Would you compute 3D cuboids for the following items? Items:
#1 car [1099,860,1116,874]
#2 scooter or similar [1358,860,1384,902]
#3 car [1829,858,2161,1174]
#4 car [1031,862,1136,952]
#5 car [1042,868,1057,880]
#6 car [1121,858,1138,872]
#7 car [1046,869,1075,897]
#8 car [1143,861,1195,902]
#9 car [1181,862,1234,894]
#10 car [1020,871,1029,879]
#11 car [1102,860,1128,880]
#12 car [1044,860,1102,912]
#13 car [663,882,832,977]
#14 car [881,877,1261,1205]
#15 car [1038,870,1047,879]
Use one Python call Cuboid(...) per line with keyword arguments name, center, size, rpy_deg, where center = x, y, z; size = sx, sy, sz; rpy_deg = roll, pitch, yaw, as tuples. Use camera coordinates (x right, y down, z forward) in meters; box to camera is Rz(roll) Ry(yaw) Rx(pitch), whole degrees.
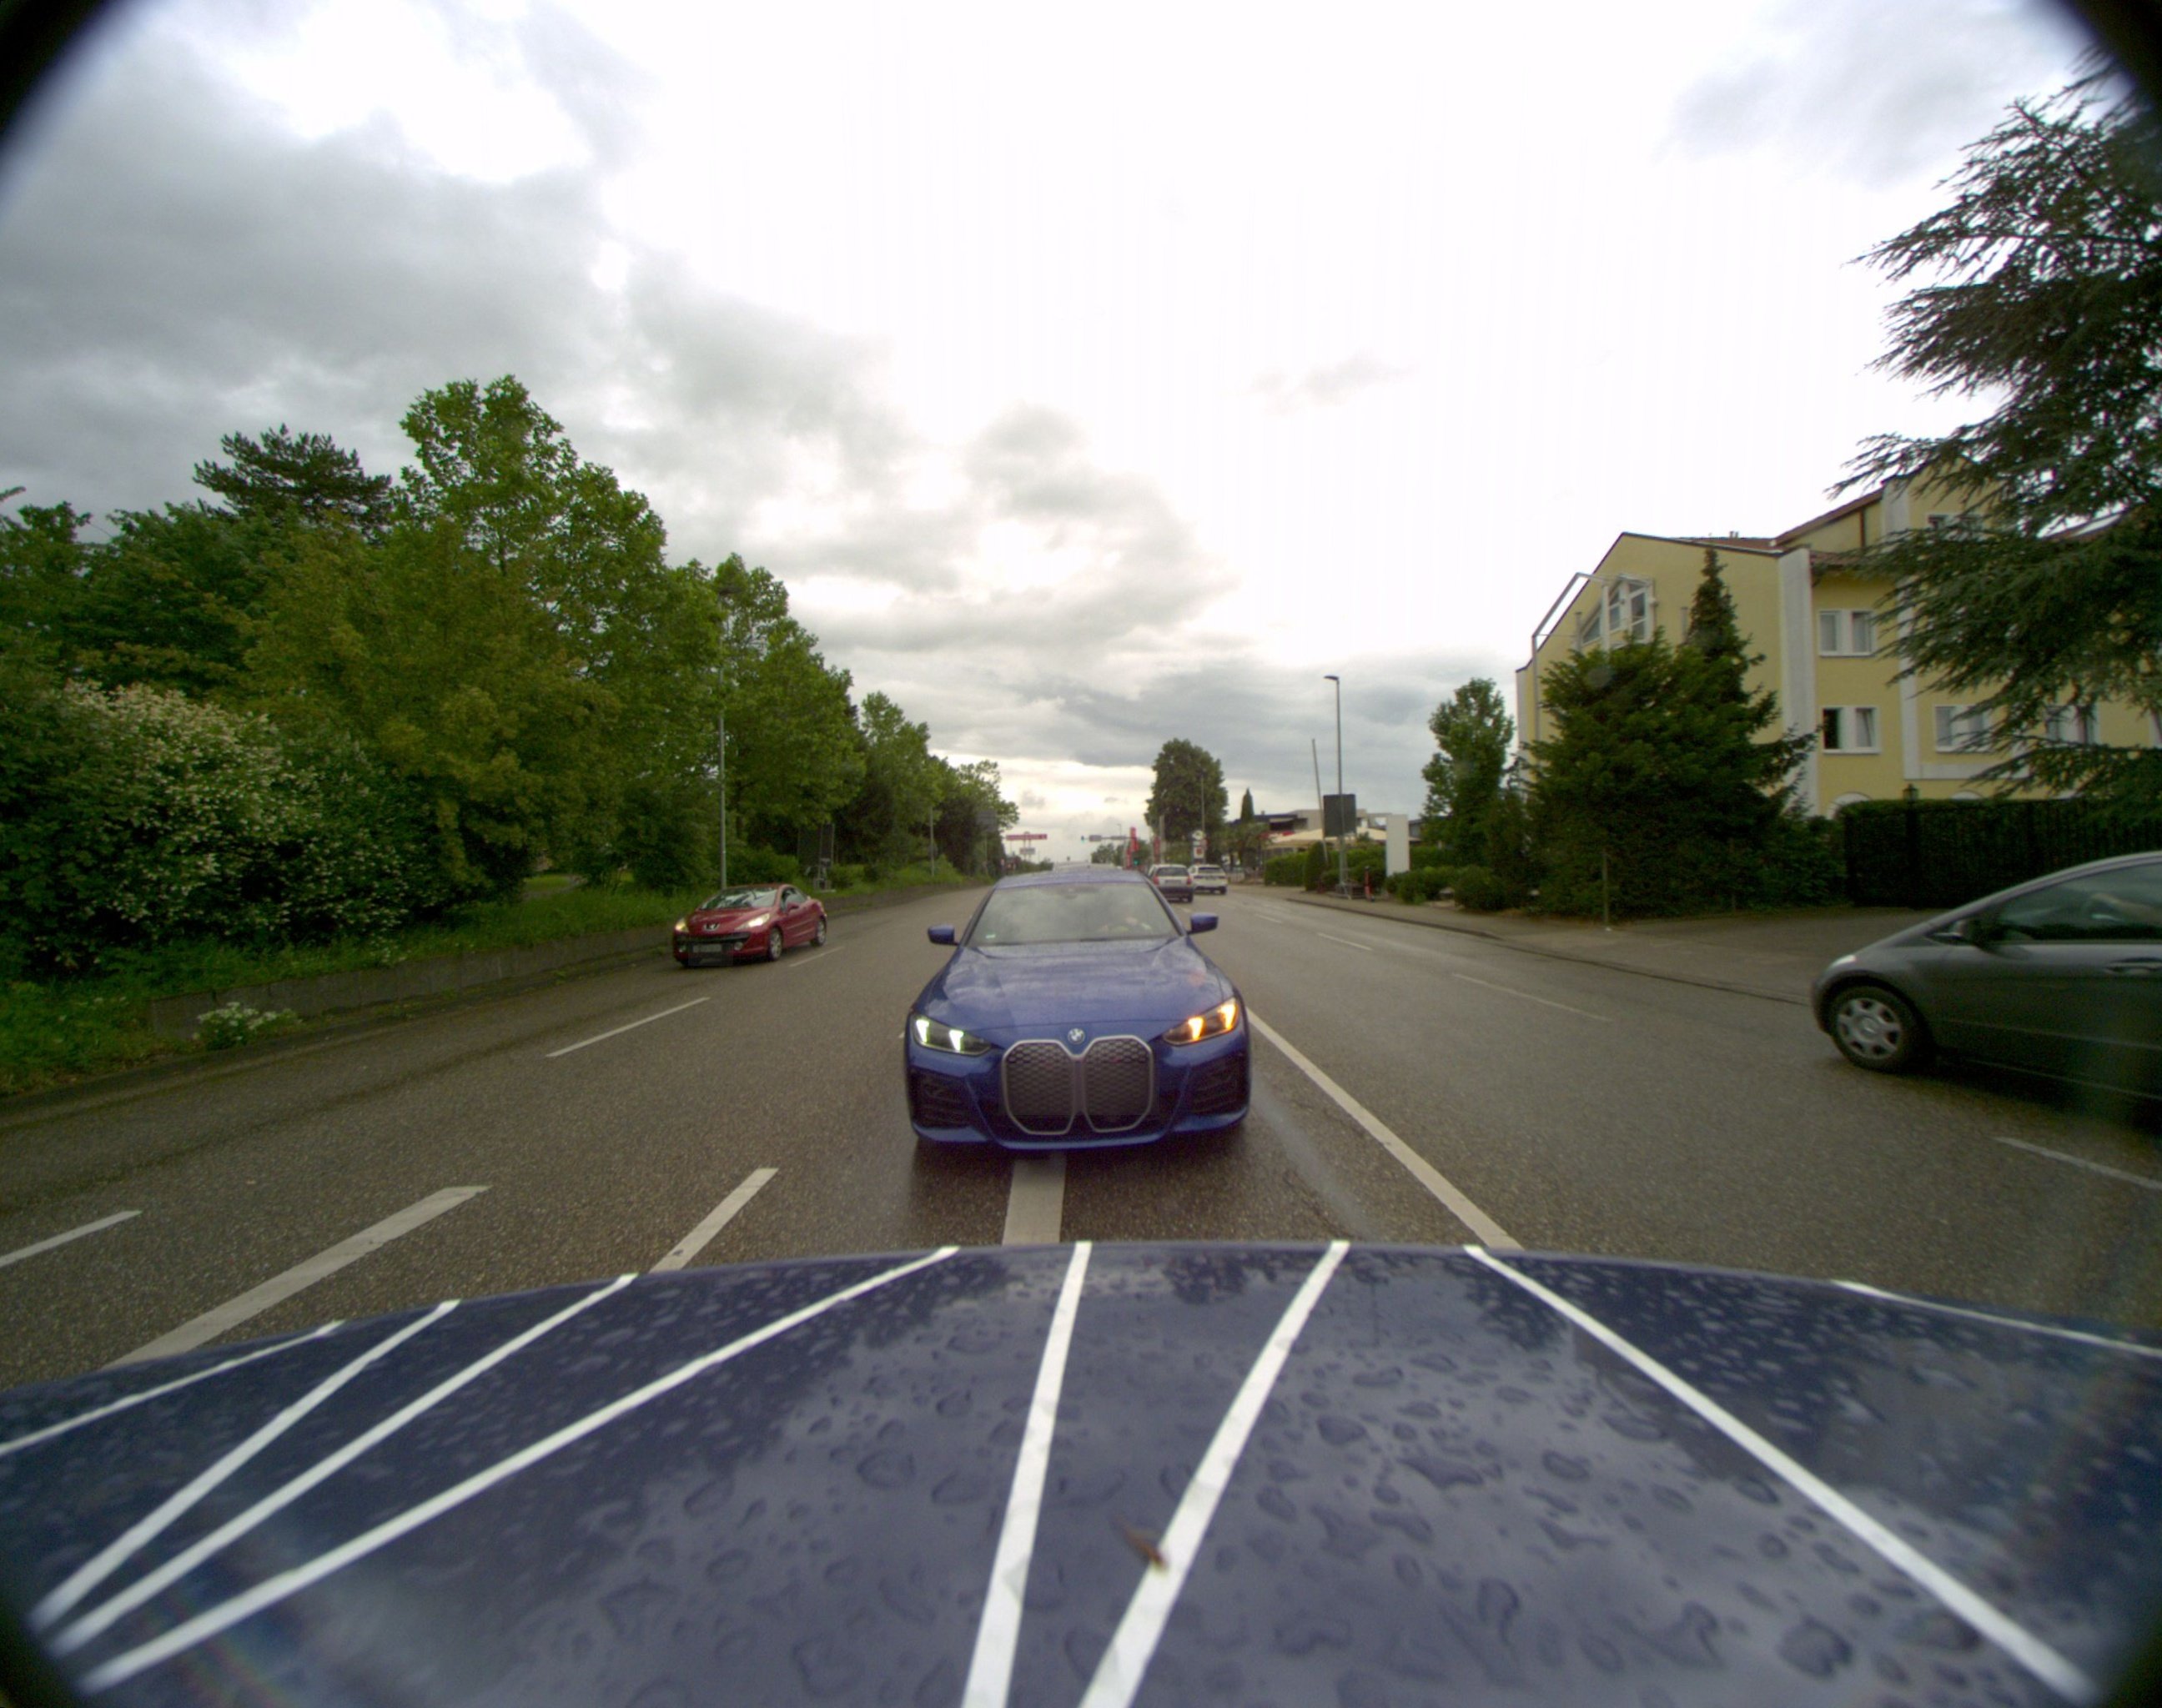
Cuboid(name="car", center=(2.750, 1.317, 79.579), size=(1.699, 1.345, 3.780), rpy_deg=(1, 0, 0))
Cuboid(name="scooter or similar", center=(10.048, 0.914, 26.337), size=(0.505, 1.398, 1.882), rpy_deg=(-1, 0, 11))
Cuboid(name="car", center=(6.298, 0.812, 3.742), size=(1.704, 1.589, 3.550), rpy_deg=(0, -1, -1))
Cuboid(name="car", center=(0.061, 0.960, 15.507), size=(1.807, 1.543, 4.223), rpy_deg=(-1, 0, 0))
Cuboid(name="car", center=(-4.128, 2.659, 100.555), size=(1.775, 1.448, 4.000), rpy_deg=(-1, 0, 1))
Cuboid(name="car", center=(6.035, 1.345, 95.738), size=(1.764, 1.665, 3.780), rpy_deg=(-2, 0, -1))
Cuboid(name="car", center=(-1.204, 1.704, 45.520), size=(1.699, 1.467, 3.780), rpy_deg=(-1, 0, -1))
Cuboid(name="car", center=(3.391, 1.018, 29.761), size=(1.643, 1.451, 3.518), rpy_deg=(-1, 0, 0))
Cuboid(name="car", center=(6.293, 1.156, 38.337), size=(1.790, 1.451, 4.431), rpy_deg=(-1, 0, -2))
Cuboid(name="car", center=(-13.535, 5.049, 182.418), size=(1.812, 1.718, 3.998), rpy_deg=(-3, 1, -3))
Cuboid(name="car", center=(2.758, 1.289, 61.706), size=(1.820, 1.373, 4.272), rpy_deg=(-3, 0, 0))
Cuboid(name="car", center=(-0.246, 1.032, 26.044), size=(1.807, 1.543, 4.000), rpy_deg=(-1, 0, 0))
Cuboid(name="car", center=(-6.238, 1.338, 14.683), size=(1.629, 1.395, 3.689), rpy_deg=(-3, 0, -1))
Cuboid(name="car", center=(-0.045, 0.964, 5.795), size=(1.803, 1.399, 4.272), rpy_deg=(-1, 0, 0))
Cuboid(name="car", center=(-7.757, 4.157, 154.247), size=(1.711, 1.570, 3.518), rpy_deg=(-1, 0, -3))
